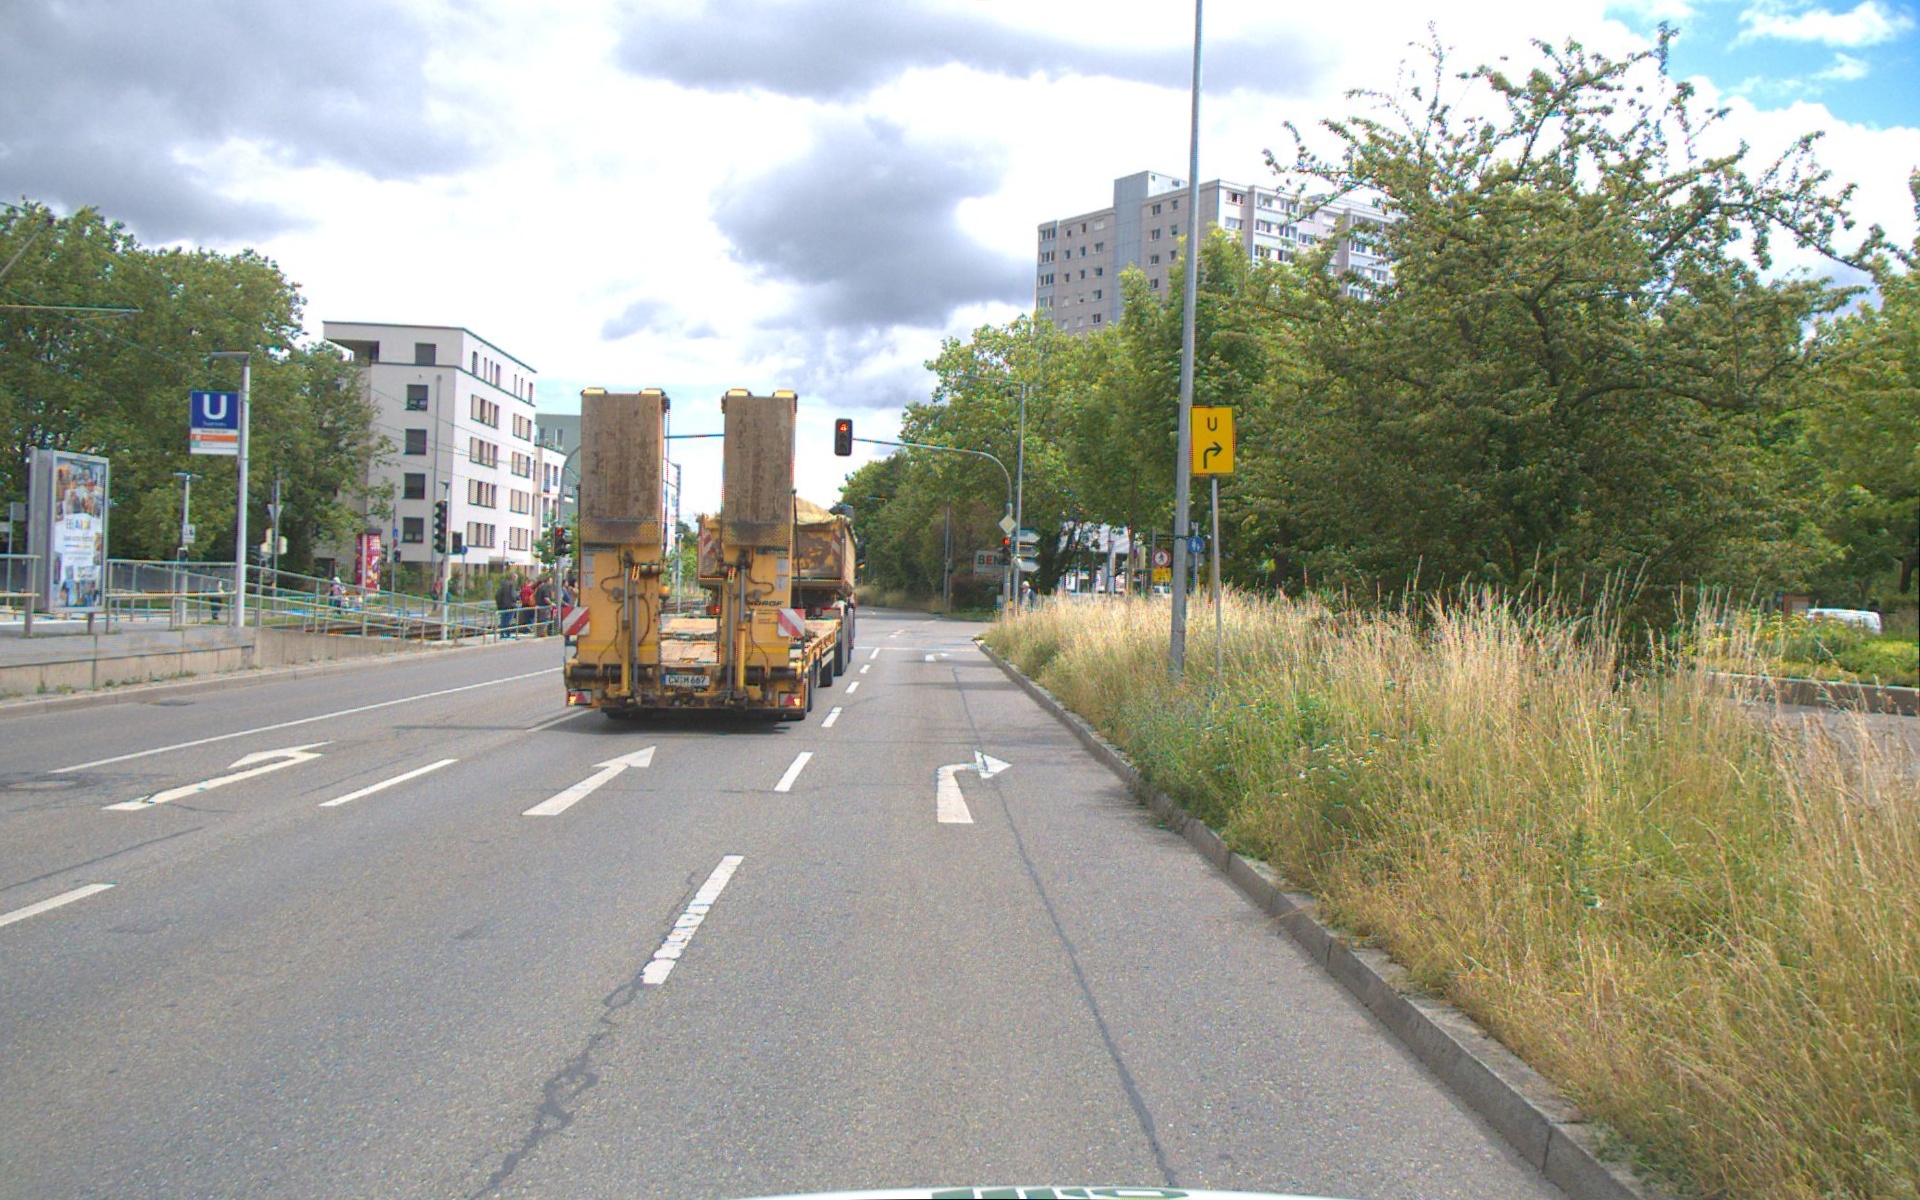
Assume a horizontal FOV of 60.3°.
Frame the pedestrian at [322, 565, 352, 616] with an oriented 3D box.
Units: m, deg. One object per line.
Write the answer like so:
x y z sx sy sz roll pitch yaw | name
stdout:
-26.911 -0.400 71.427 0.896 2.171 0.935 2 0 -2 | pedestrian

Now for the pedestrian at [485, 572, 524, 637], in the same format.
-12.257 0.120 44.500 0.803 1.697 0.683 2 0 -1 | pedestrian

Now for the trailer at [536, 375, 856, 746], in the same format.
-2.997 -0.449 22.190 2.674 3.621 11.250 2 1 -2 | trailer

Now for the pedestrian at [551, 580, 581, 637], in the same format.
-11.494 0.234 48.278 0.668 1.630 0.822 2 0 -3 | pedestrian

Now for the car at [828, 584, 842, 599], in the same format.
-16.889 -1.169 223.337 1.657 1.959 3.995 2 1 -6 | car

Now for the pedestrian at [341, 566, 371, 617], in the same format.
-25.932 -0.373 70.988 0.896 2.171 0.935 2 0 -2 | pedestrian

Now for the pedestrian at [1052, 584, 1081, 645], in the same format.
2.966 0.402 46.127 0.614 1.682 0.562 1 -1 25 | pedestrian

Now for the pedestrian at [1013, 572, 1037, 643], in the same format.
1.883 0.221 48.218 0.551 2.049 0.490 2 0 -11 | pedestrian

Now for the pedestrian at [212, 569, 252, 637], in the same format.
-24.491 0.103 55.654 0.896 2.243 0.882 2 0 -2 | pedestrian

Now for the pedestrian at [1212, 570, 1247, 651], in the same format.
6.950 0.274 42.664 0.659 2.049 0.633 2 0 -11 | pedestrian

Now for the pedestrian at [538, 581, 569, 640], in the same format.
-11.457 0.290 46.615 0.668 1.630 0.822 2 0 -3 | pedestrian

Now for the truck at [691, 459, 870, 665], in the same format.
-3.254 -0.680 32.018 2.698 3.371 8.349 2 1 -2 | truck

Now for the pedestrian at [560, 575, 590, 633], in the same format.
-11.456 0.107 49.241 0.668 1.699 0.822 2 0 -3 | pedestrian

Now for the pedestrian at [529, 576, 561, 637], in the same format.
-11.451 0.177 45.665 0.668 1.630 0.822 2 0 -3 | pedestrian

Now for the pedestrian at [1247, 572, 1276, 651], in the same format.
7.833 0.297 43.033 0.551 2.049 0.490 2 0 -11 | pedestrian
